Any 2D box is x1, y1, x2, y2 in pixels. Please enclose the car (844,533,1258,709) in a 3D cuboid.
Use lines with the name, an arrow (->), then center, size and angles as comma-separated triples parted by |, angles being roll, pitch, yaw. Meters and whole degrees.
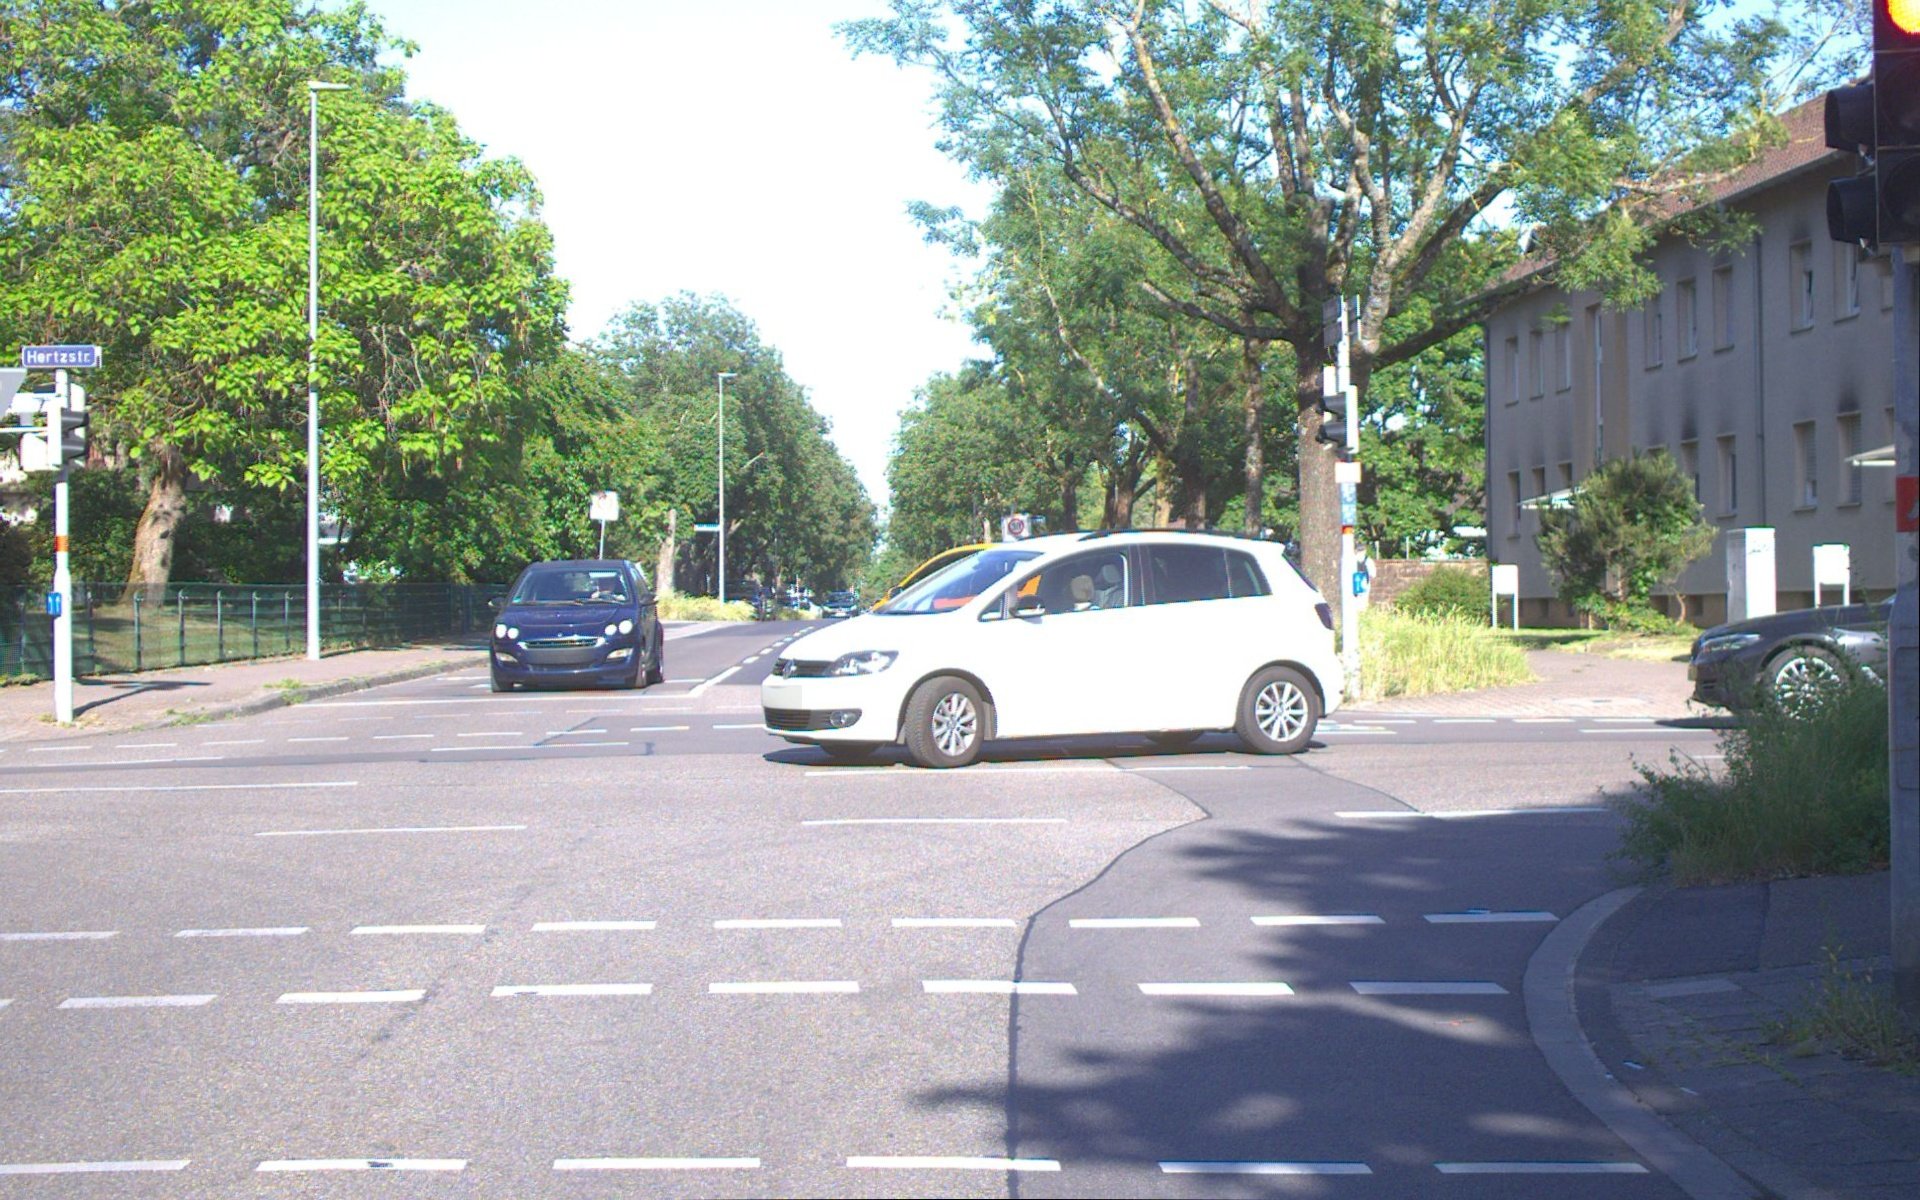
car -> 0.817, 0.165, 32.973 | 1.752, 1.577, 3.999 | 0, 1, -40

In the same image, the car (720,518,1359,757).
car -> 0.559, 0.251, 24.110 | 4.106, 1.558, 1.758 | 1, 0, -24

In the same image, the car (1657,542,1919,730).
car -> 8.085, 0.252, 27.350 | 4.728, 1.425, 2.000 | 0, 1, 3

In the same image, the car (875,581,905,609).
car -> -4.248, -0.312, 209.599 | 1.758, 1.619, 3.268 | 0, 1, 0

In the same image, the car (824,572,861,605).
car -> -6.012, -0.584, 175.845 | 1.758, 1.619, 3.268 | 0, 1, 0

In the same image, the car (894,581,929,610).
car -> -2.581, -0.246, 182.073 | 1.844, 1.456, 3.530 | 0, 1, -1

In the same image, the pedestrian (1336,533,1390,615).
pedestrian -> 7.497, -0.492, 64.038 | 0.842, 1.488, 0.924 | 2, 1, -1

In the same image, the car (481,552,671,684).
car -> -4.265, 0.171, 38.634 | 1.711, 1.381, 3.471 | 0, 1, 0
